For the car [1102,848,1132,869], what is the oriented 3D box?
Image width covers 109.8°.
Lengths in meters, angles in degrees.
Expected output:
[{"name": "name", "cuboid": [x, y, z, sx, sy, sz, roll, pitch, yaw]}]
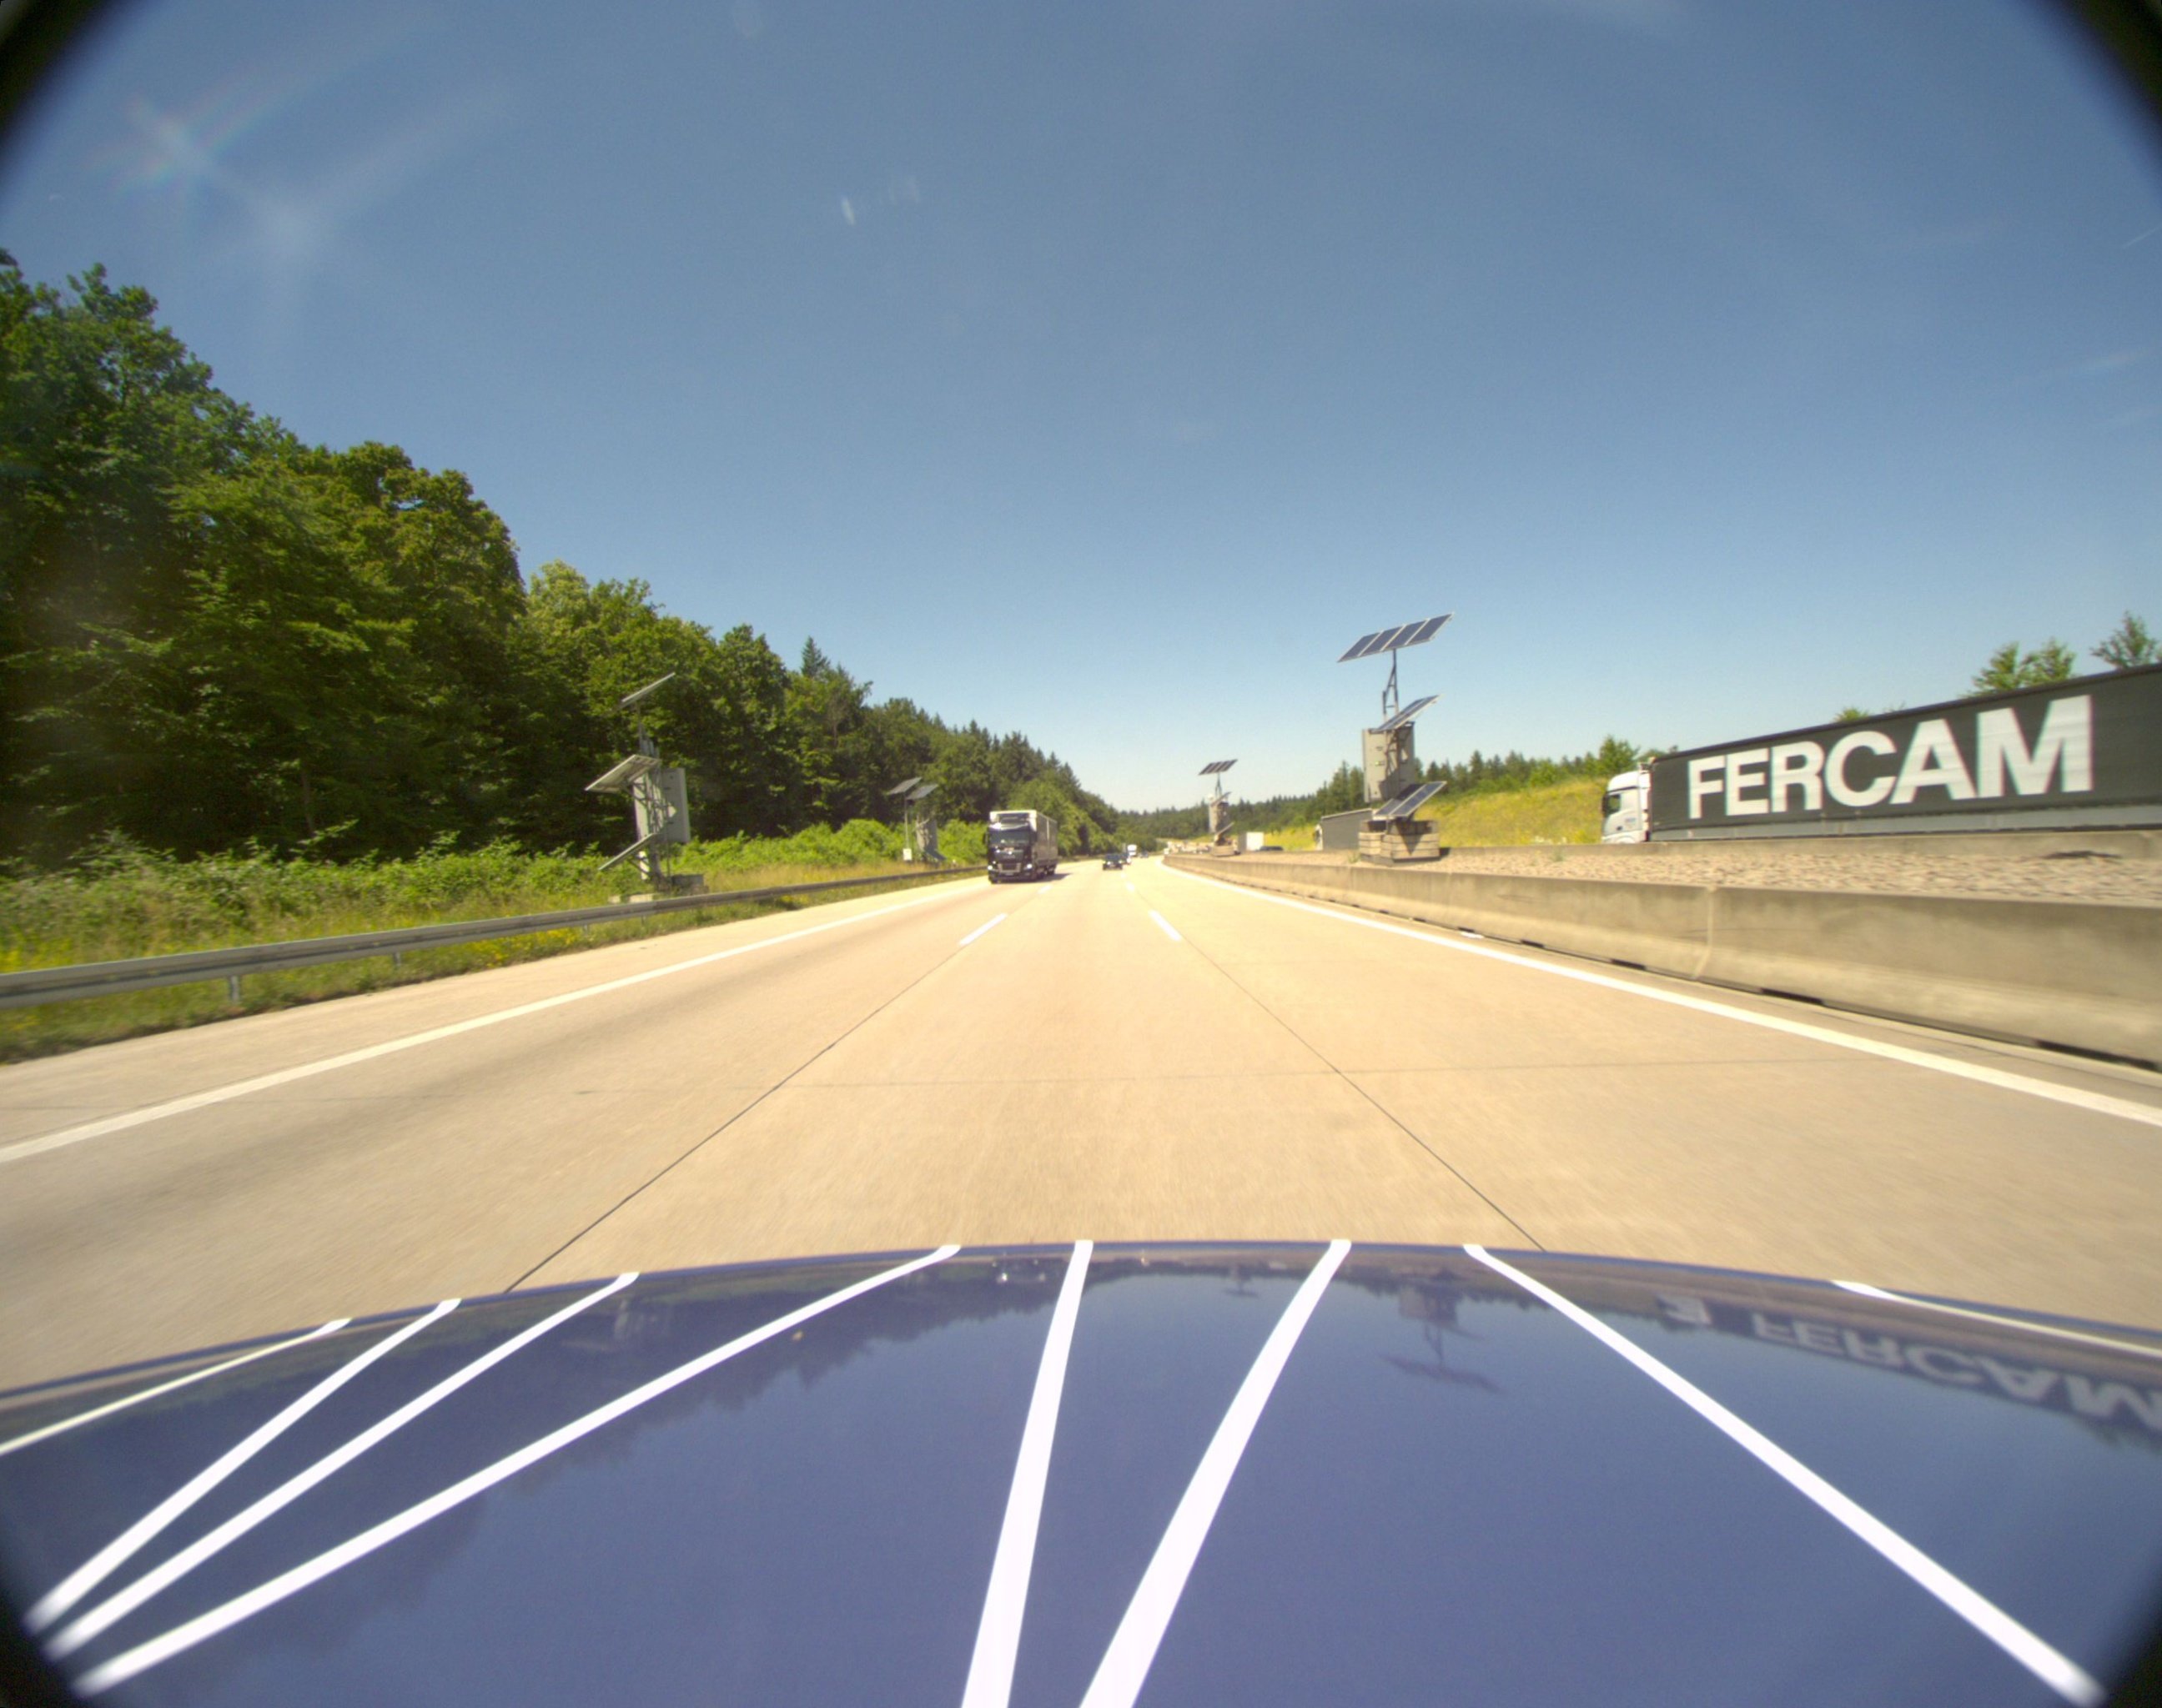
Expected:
[{"name": "car", "cuboid": [3.294, 0.399, 68.899, 1.929, 1.694, 4.403, -4, 0, 11]}]

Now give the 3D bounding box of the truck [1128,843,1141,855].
[{"name": "truck", "cuboid": [14.615, -1.391, 206.588, 2.482, 2.779, 5.919, -4, 0, 11]}]

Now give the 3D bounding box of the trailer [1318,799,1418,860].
[{"name": "trailer", "cuboid": [22.591, -1.825, 61.137, 2.940, 4.144, 14.388, -4, 1, 2]}]

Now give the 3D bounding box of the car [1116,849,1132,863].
[{"name": "car", "cuboid": [5.267, 0.217, 93.545, 1.842, 1.547, 4.001, -4, 1, 4]}]

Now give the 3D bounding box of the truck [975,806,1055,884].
[{"name": "truck", "cuboid": [-3.687, -0.512, 45.636, 3.167, 3.993, 10.609, -2, 0, 3]}]

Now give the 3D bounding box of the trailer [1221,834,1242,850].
[{"name": "trailer", "cuboid": [32.711, -2.602, 165.648, 2.940, 3.196, 11.833, -4, 0, 4]}]

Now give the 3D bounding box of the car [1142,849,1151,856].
[{"name": "car", "cuboid": [16.207, -0.443, 188.225, 1.841, 1.547, 4.002, -4, 1, 9]}]

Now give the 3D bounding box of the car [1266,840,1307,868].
[{"name": "car", "cuboid": [14.730, -0.037, 54.720, 1.998, 1.871, 4.000, -2, 0, 2]}]

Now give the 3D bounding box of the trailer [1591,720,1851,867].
[{"name": "trailer", "cuboid": [21.286, -1.810, 25.965, 2.940, 4.144, 6.890, -4, 1, 1]}]

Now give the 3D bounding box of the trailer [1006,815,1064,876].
[{"name": "trailer", "cuboid": [-3.209, -0.585, 55.507, 3.142, 3.993, 9.089, -2, 0, 3]}]

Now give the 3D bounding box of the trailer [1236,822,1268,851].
[{"name": "trailer", "cuboid": [26.697, -2.703, 119.228, 2.939, 4.144, 14.392, -4, 1, 6]}]

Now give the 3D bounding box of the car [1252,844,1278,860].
[{"name": "car", "cuboid": [19.700, -0.244, 81.552, 1.998, 1.674, 4.000, -1, 0, 3]}]

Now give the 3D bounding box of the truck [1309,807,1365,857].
[{"name": "truck", "cuboid": [22.919, -1.917, 68.256, 2.940, 4.144, 6.230, -4, 1, 3]}]

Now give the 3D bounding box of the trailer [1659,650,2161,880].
[{"name": "trailer", "cuboid": [21.141, -1.748, 19.260, 2.940, 4.144, 13.189, -4, 1, 1]}]

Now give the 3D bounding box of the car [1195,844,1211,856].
[{"name": "car", "cuboid": [19.031, -0.605, 118.492, 1.998, 1.903, 4.000, -1, 0, 3]}]
